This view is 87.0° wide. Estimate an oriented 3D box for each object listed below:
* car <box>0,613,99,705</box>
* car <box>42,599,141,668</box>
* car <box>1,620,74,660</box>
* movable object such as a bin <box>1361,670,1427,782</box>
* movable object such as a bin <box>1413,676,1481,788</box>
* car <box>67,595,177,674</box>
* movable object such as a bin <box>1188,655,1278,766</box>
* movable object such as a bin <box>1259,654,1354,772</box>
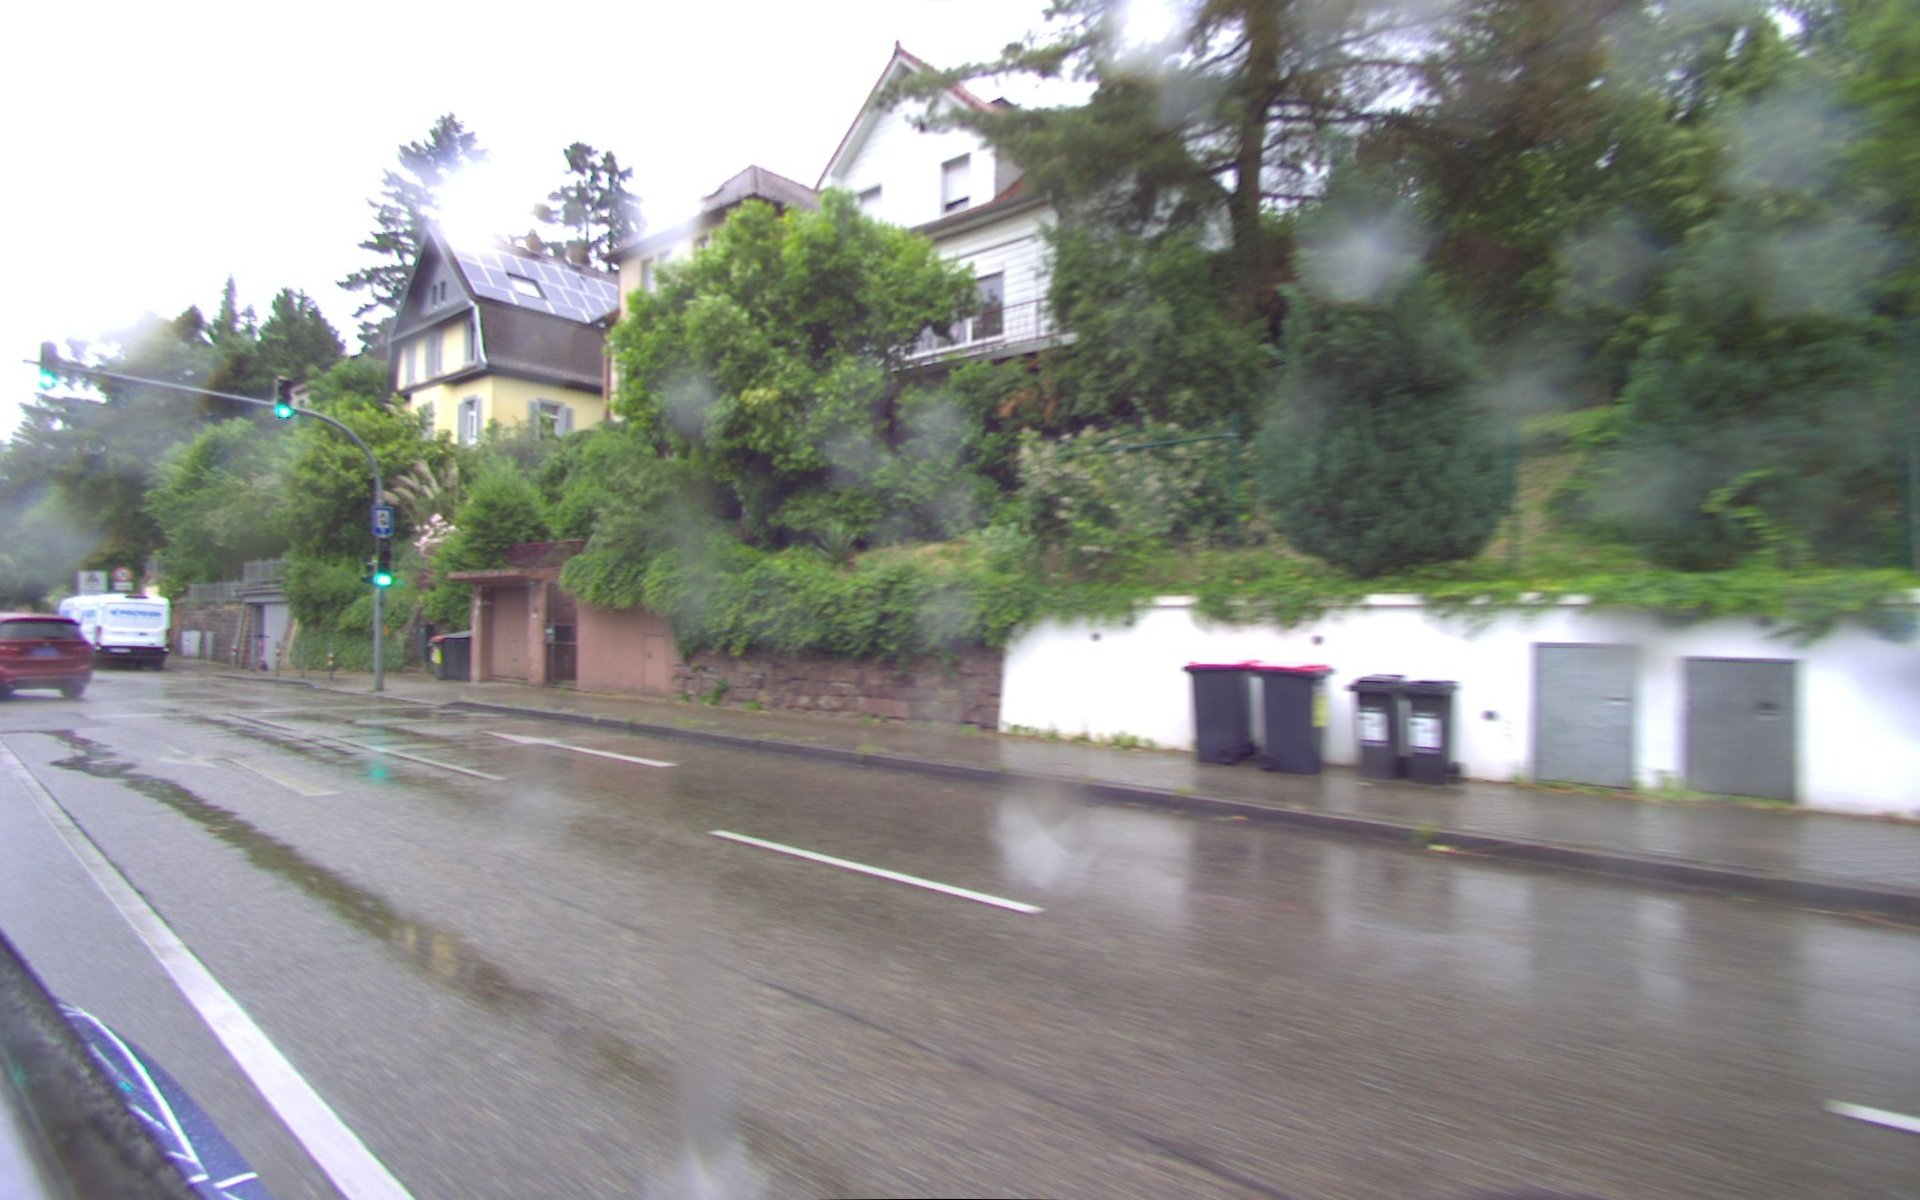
[{"bbox_3d":[-18.361,1.055,19.168,4.074,1.622,1.777,0,-1,29],"label":"car"},{"bbox_3d":[-33.956,1.315,39.520,4.914,2.487,2.134,-1,-4,42],"label":"car"},{"bbox_3d":[-46.949,2.017,51.480,4.914,1.840,2.134,-1,-4,42],"label":"car"},{"bbox_3d":[4.000,1.141,9.318,0.416,0.947,0.537,-1,-1,41],"label":"movable object such as a bin"},{"bbox_3d":[4.334,1.155,9.004,0.416,0.905,0.525,-1,-1,41],"label":"movable object such as a bin"},{"bbox_3d":[-29.115,1.192,35.120,4.852,2.497,2.057,-1,-4,42],"label":"car"},{"bbox_3d":[2.803,1.107,10.382,0.657,1.048,0.674,-1,-1,41],"label":"movable object such as a bin"},{"bbox_3d":[3.353,1.063,9.789,0.657,1.048,0.674,-1,-1,41],"label":"movable object such as a bin"}]
